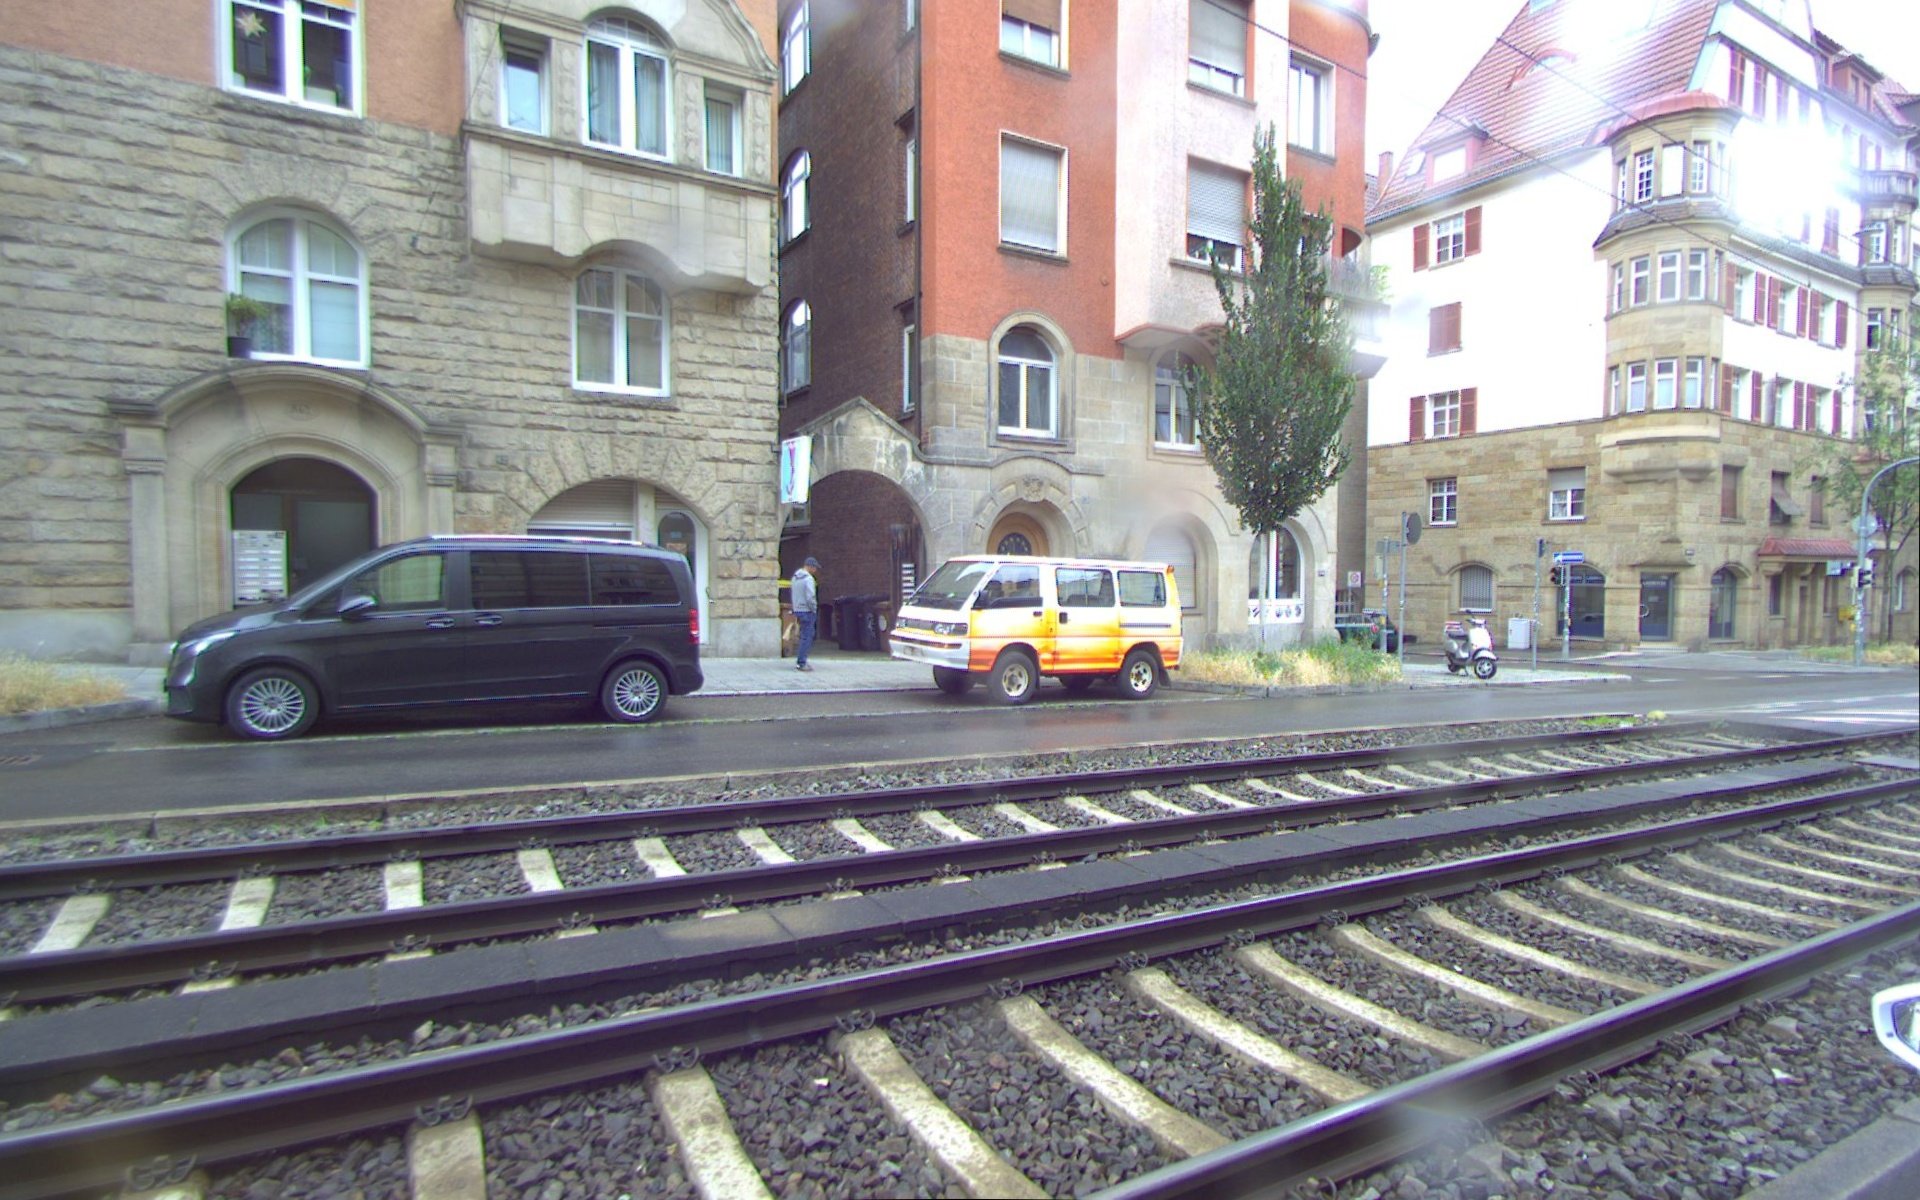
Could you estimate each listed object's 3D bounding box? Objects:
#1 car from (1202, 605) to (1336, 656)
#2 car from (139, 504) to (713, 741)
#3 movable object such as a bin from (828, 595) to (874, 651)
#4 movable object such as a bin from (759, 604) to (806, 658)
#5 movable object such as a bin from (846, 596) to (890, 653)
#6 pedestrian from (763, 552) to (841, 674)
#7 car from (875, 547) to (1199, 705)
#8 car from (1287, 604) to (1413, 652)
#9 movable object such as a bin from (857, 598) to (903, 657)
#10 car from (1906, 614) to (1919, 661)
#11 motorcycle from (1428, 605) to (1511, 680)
[{"bbox_3d":[9.783,0.943,32.095,1.726,1.486,3.968,2,0,-29],"label":"car"},{"bbox_3d":[-5.199,0.247,10.370,4.777,1.956,1.896,2,0,-31],"label":"car"},{"bbox_3d":[-2.110,0.442,19.403,0.648,1.058,0.676,2,0,-29],"label":"movable object such as a bin"},{"bbox_3d":[-3.085,0.531,17.427,0.647,0.910,0.544,2,0,-27],"label":"movable object such as a bin"},{"bbox_3d":[-1.729,0.458,18.896,0.648,1.058,0.545,2,0,-29],"label":"movable object such as a bin"},{"bbox_3d":[-2.392,0.193,15.157,0.882,1.743,0.713,2,6,-30],"label":"pedestrian"},{"bbox_3d":[1.172,0.378,14.334,4.426,1.956,1.719,2,0,-32],"label":"car"},{"bbox_3d":[14.477,1.018,37.433,1.979,1.595,3.963,2,0,-33],"label":"car"},{"bbox_3d":[-1.462,0.505,18.403,0.648,1.058,0.545,2,0,-29],"label":"movable object such as a bin"},{"bbox_3d":[34.054,1.328,34.213,4.130,1.549,1.680,2,0,-32],"label":"car"},{"bbox_3d":[10.068,0.805,19.925,0.752,1.393,1.785,2,0,2],"label":"motorcycle"}]
